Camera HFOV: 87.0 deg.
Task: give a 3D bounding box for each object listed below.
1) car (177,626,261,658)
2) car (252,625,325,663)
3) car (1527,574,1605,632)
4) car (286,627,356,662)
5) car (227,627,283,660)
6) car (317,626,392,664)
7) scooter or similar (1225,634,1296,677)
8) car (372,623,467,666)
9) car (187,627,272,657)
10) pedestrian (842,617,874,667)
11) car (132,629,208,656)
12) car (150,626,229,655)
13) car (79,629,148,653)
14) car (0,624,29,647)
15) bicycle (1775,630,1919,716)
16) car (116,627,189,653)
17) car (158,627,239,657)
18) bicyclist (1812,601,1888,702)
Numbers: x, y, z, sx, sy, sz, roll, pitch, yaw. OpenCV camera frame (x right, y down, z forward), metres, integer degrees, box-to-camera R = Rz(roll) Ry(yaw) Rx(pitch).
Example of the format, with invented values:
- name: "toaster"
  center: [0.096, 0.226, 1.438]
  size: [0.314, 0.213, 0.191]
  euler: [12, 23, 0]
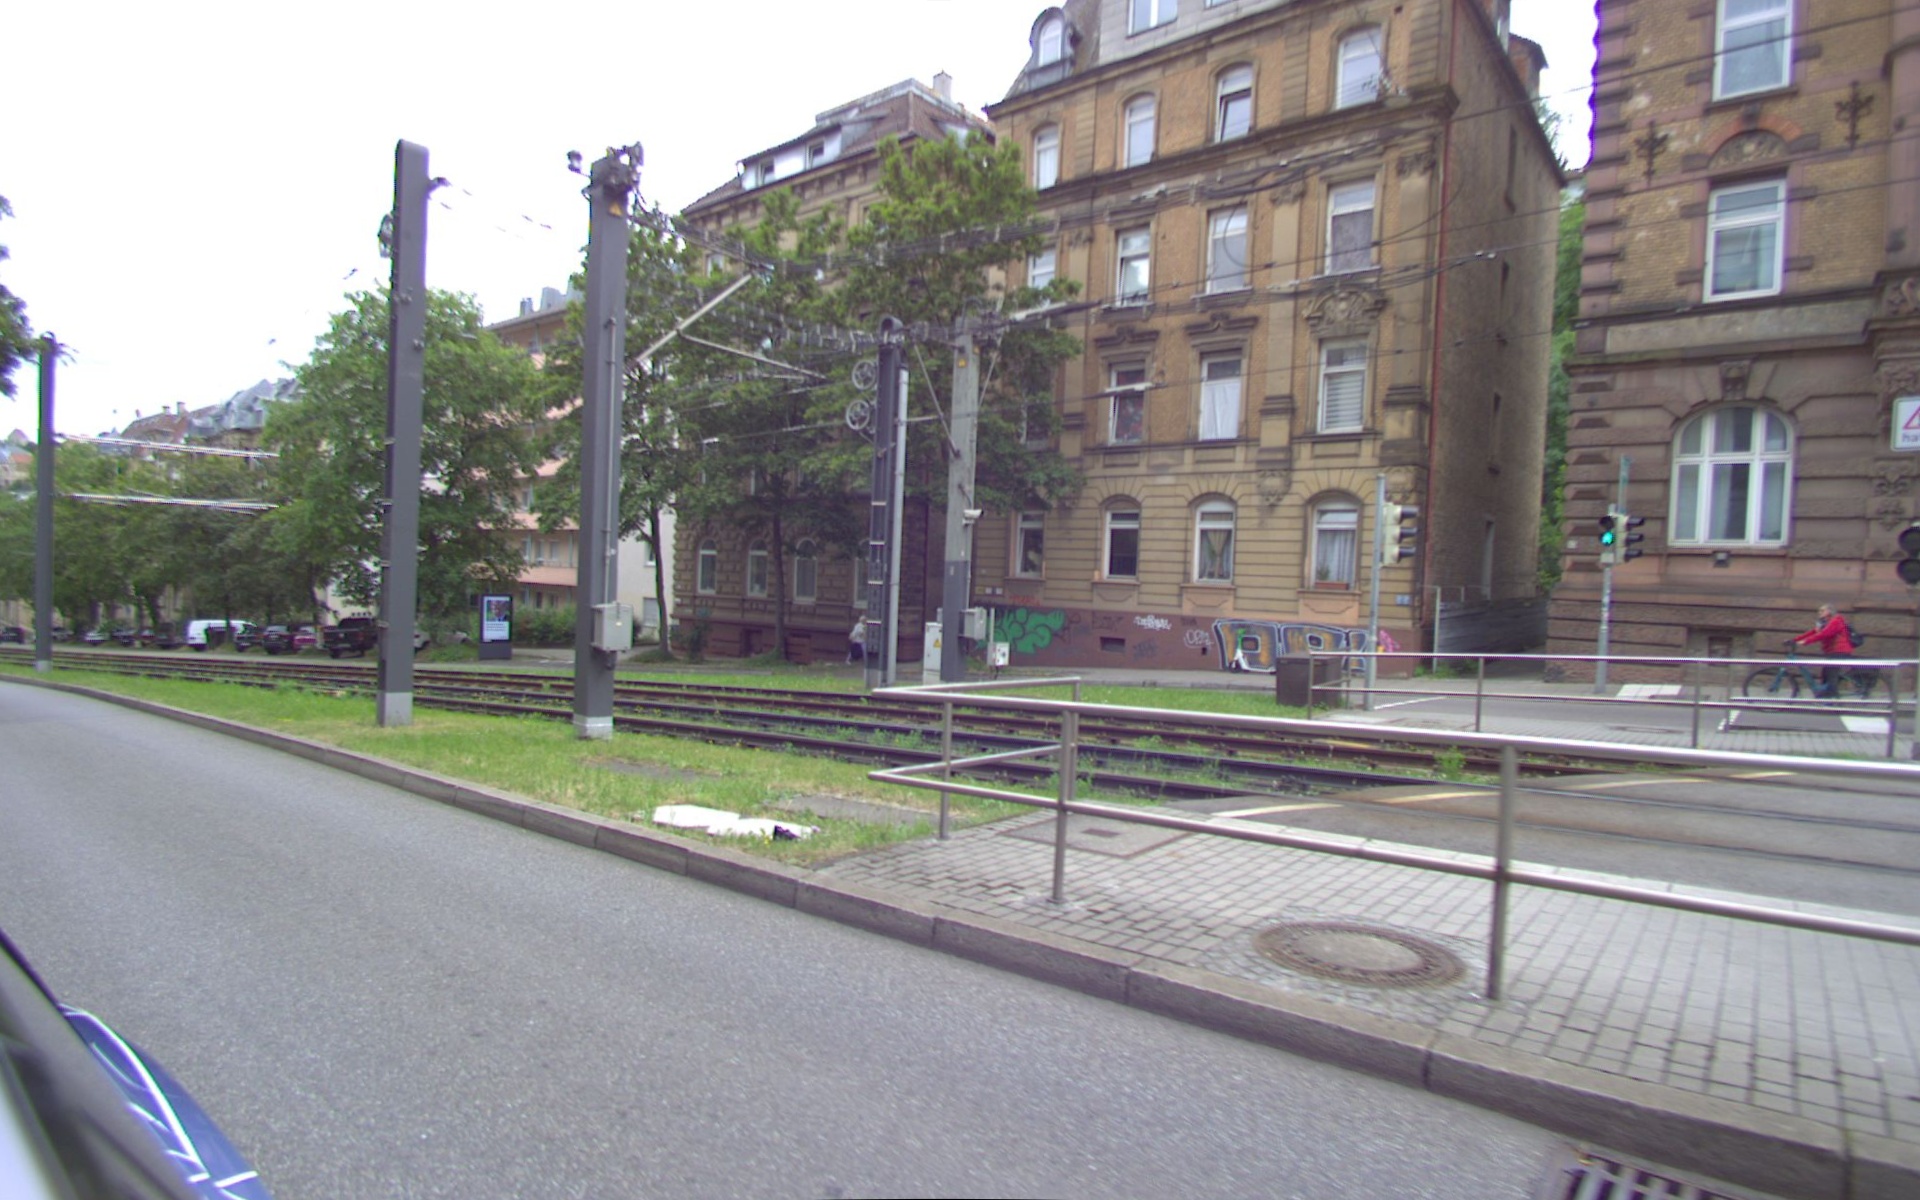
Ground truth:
- name: "car"
  center: [-44.966, 2.522, 61.478]
  size: [1.769, 1.828, 3.837]
  euler: [-1, -1, 16]
- name: "car"
  center: [-35.189, 2.264, 53.136]
  size: [1.756, 1.700, 3.866]
  euler: [0, 2, -9]
- name: "car"
  center: [22.759, 0.142, 37.958]
  size: [1.998, 2.029, 3.948]
  euler: [-1, -1, 39]
- name: "car"
  center: [-32.971, 2.261, 52.323]
  size: [1.755, 1.701, 3.866]
  euler: [0, -1, -10]
- name: "car"
  center: [-39.584, 2.422, 56.918]
  size: [1.754, 1.700, 3.870]
  euler: [0, 0, -22]
- name: "car"
  center: [-28.258, 2.060, 47.345]
  size: [1.755, 1.701, 3.866]
  euler: [0, -1, -10]
- name: "scooter or similar"
  center: [7.004, 1.277, 23.645]
  size: [1.588, 0.949, 0.423]
  euler: [-1, -1, 45]
- name: "car"
  center: [-23.390, 1.891, 43.971]
  size: [1.764, 1.701, 3.849]
  euler: [-1, -1, 8]
- name: "car"
  center: [-43.317, 2.483, 60.103]
  size: [1.769, 1.701, 3.837]
  euler: [-1, -1, 16]
- name: "pedestrian"
  center: [-3.158, 1.293, 31.345]
  size: [0.739, 1.524, 0.681]
  euler: [-1, -1, 41]
- name: "car"
  center: [-55.513, 2.954, 71.176]
  size: [1.774, 1.828, 3.826]
  euler: [-1, -2, 24]
- name: "car"
  center: [-51.132, 2.671, 67.203]
  size: [1.774, 1.828, 3.826]
  euler: [-1, -1, 24]
- name: "car"
  center: [-66.736, 3.223, 79.834]
  size: [1.774, 1.828, 3.826]
  euler: [-1, -2, 24]
- name: "car"
  center: [-86.595, 3.182, 92.047]
  size: [3.989, 2.029, 1.977]
  euler: [-1, -2, 34]
- name: "bicycle"
  center: [13.464, 1.085, 15.399]
  size: [1.601, 1.232, 0.618]
  euler: [-2, -2, 43]
- name: "car"
  center: [-59.657, 2.925, 74.832]
  size: [1.774, 1.828, 3.826]
  euler: [-1, -2, 24]
- name: "car"
  center: [-49.346, 2.699, 65.681]
  size: [1.774, 1.828, 3.826]
  euler: [-1, -2, 24]
- name: "bicyclist"
  center: [13.565, 0.771, 15.438]
  size: [0.812, 1.491, 0.612]
  euler: [-2, -2, 42]
